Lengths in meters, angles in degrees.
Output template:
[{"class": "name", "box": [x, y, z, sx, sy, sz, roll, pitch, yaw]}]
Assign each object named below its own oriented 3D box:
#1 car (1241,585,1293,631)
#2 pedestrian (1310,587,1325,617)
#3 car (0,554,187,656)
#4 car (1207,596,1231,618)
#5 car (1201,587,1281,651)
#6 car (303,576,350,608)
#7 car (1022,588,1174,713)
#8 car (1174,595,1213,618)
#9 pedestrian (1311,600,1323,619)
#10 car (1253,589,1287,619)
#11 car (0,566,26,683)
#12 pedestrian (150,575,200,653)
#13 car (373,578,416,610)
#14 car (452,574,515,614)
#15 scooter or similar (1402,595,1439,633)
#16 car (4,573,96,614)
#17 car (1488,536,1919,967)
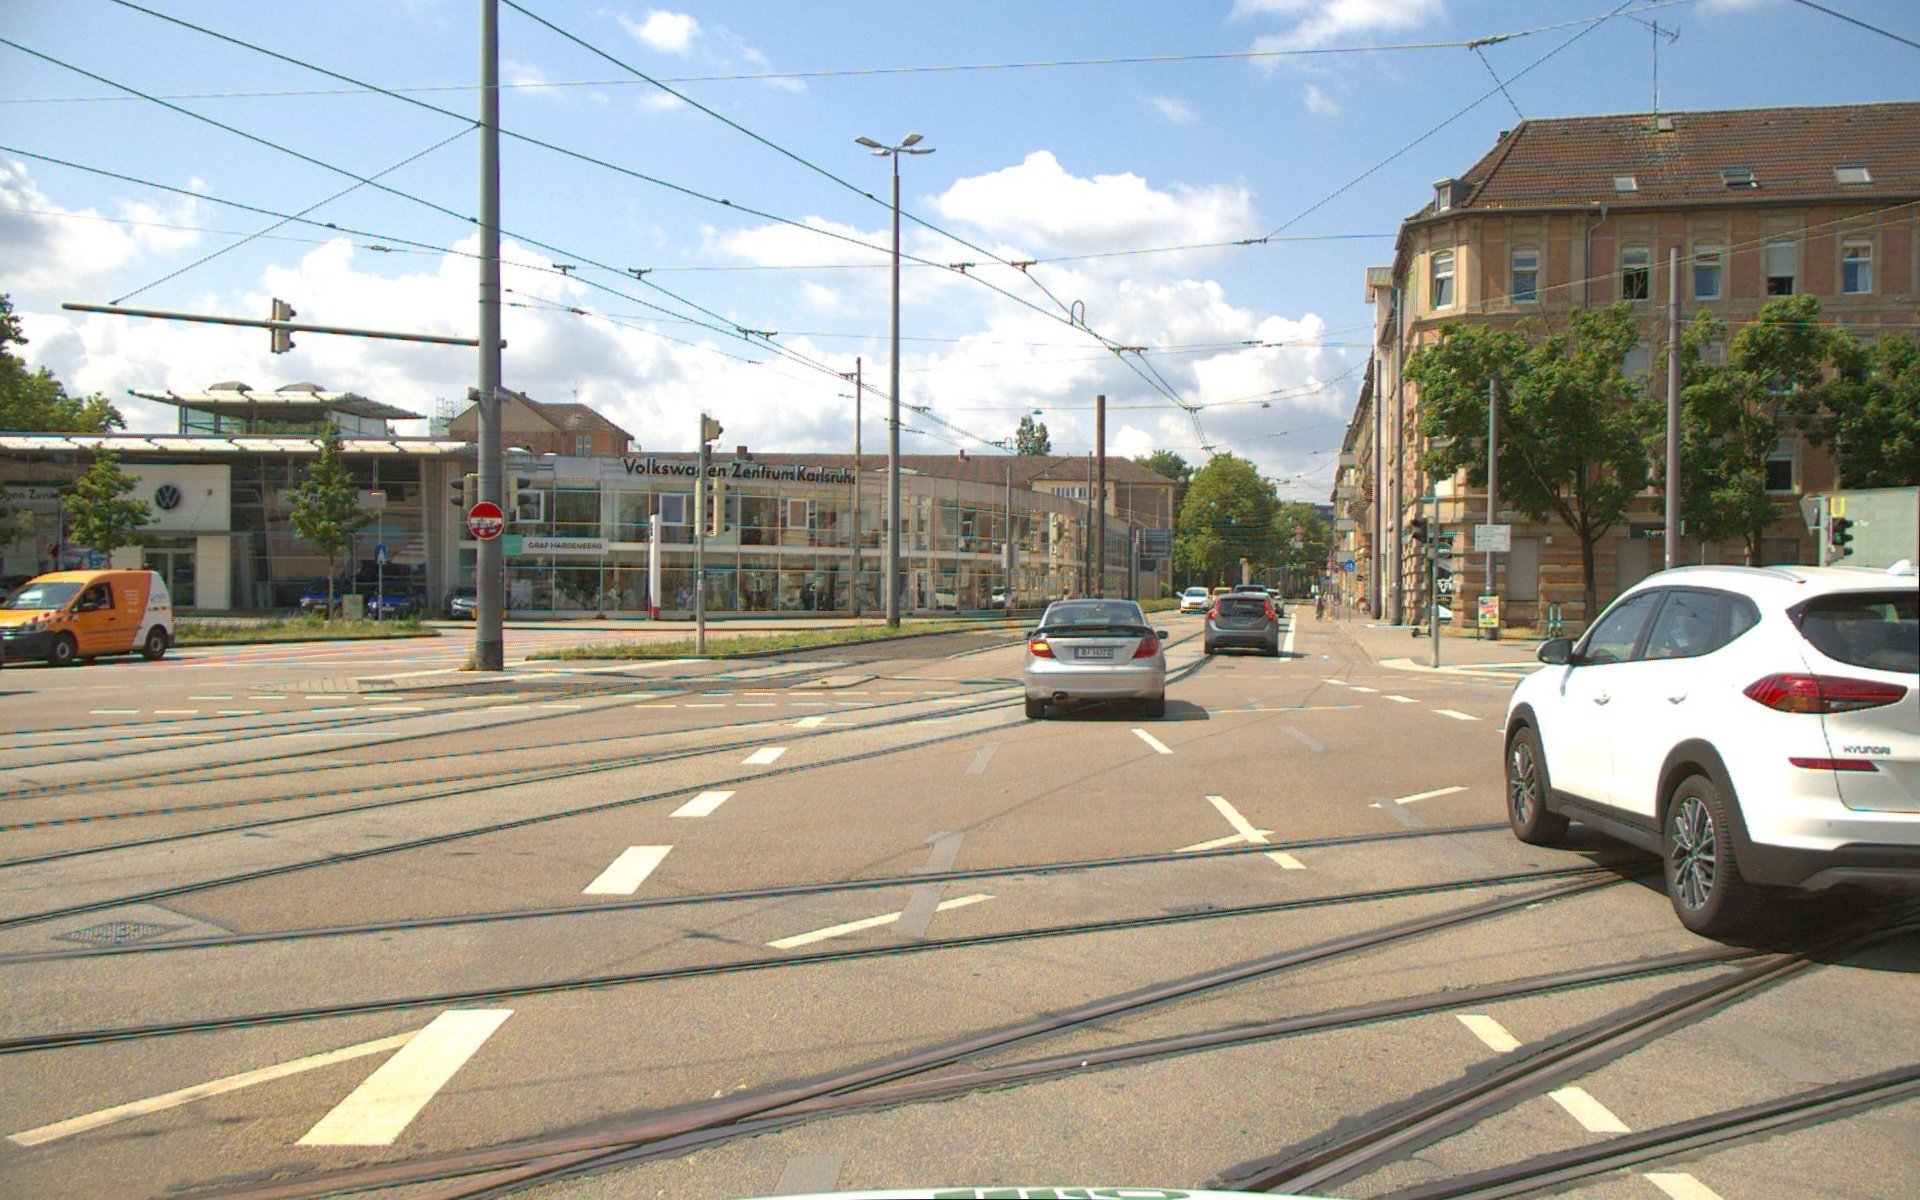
[{"class": "car", "box": [11.681, 0.289, 63.037, 1.841, 1.670, 3.960, 1, 0, 10]}, {"class": "pedestrian", "box": [18.627, 0.107, 86.212, 0.677, 1.483, 0.680, 2, -1, 11]}, {"class": "car", "box": [-17.259, 0.083, 32.141, 1.681, 1.832, 4.744, 0, 0, 9]}, {"class": "car", "box": [21.931, 0.576, 140.069, 1.841, 1.722, 3.960, 1, 0, 11]}, {"class": "car", "box": [6.972, 0.441, 40.954, 1.841, 1.444, 3.960, 1, 0, 10]}, {"class": "car", "box": [-27.012, -0.324, 70.622, 1.622, 1.272, 3.979, 2, -1, -18]}, {"class": "car", "box": [1.838, 0.575, 20.901, 1.704, 1.416, 4.183, 0, 0, 8]}, {"class": "car", "box": [15.007, 0.417, 106.156, 1.841, 1.444, 3.959, 1, 0, 17]}, {"class": "pedestrian", "box": [18.569, 0.488, 86.057, 0.513, 0.922, 1.562, 2, -1, 10]}, {"class": "car", "box": [17.970, 0.245, 95.798, 1.841, 1.670, 3.960, 1, 0, 11]}, {"class": "car", "box": [-13.842, 0.312, 20.532, 1.681, 1.558, 4.125, 1, 0, 9]}, {"class": "pedestrian", "box": [-18.696, 0.331, 39.403, 0.744, 1.832, 0.765, 1, 0, 9]}, {"class": "car", "box": [-24.032, -0.236, 70.353, 1.622, 1.272, 3.979, 2, -1, -18]}, {"class": "car", "box": [-20.881, -0.244, 72.562, 1.955, 1.601, 3.994, 2, -1, -7]}, {"class": "scooter or similar", "box": [15.092, 0.459, 54.199, 1.508, 1.194, 0.377, 3, -2, -42]}, {"class": "car", "box": [-38.907, -0.231, 70.818, 1.955, 1.601, 4.171, 2, -1, -7]}, {"class": "car", "box": [4.272, 0.598, 8.563, 1.842, 1.670, 4.234, 1, 0, 2]}]
